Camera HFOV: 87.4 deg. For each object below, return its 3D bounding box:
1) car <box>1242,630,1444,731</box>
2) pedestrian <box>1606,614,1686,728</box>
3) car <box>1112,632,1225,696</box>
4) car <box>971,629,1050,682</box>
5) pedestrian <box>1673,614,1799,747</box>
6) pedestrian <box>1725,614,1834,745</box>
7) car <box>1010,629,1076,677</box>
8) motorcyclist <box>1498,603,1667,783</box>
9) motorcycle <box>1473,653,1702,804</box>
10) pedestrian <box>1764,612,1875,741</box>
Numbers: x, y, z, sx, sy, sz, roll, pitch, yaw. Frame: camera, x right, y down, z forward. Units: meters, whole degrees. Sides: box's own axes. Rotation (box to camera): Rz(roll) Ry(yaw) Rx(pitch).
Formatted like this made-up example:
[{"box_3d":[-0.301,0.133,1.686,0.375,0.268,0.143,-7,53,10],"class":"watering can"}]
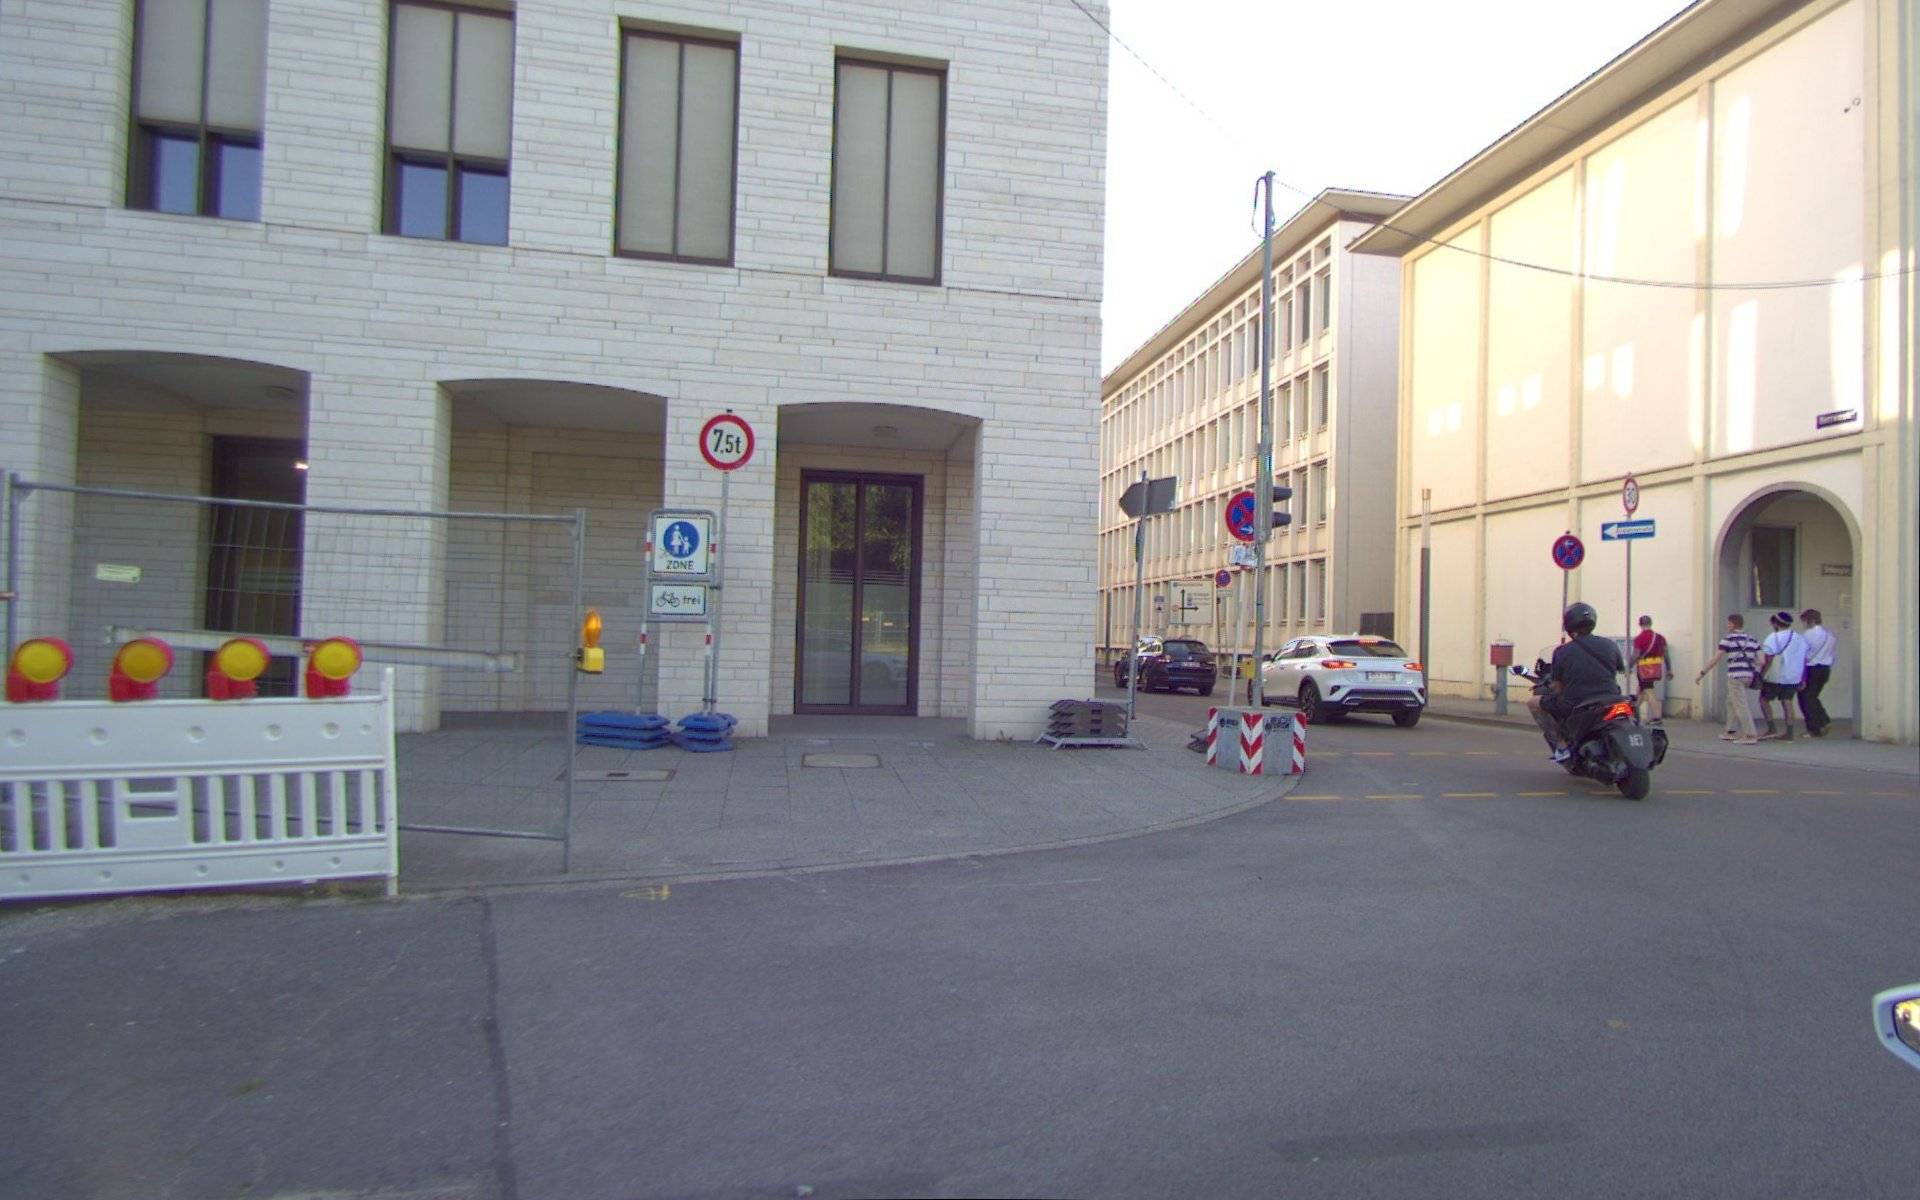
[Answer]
[{"box_3d":[6.545,1.334,17.669,1.829,1.491,3.999,3,-2,-3],"class":"car"},{"box_3d":[11.379,1.166,16.690,0.698,1.825,0.774,-1,-1,-9],"class":"pedestrian"},{"box_3d":[5.475,1.665,26.888,1.746,1.570,4.103,1,-2,-7],"class":"car"},{"box_3d":[1.605,1.803,33.385,1.783,1.627,4.262,0,-2,-9],"class":"car"},{"box_3d":[11.230,1.132,14.575,0.703,1.825,1.245,-1,-1,-9],"class":"pedestrian"},{"box_3d":[11.824,1.122,14.528,0.698,1.801,0.940,-1,-1,-9],"class":"pedestrian"},{"box_3d":[3.439,2.190,42.231,1.896,1.881,3.995,1,-2,-9],"class":"car"},{"box_3d":[5.829,0.838,9.504,0.937,1.580,1.240,0,-2,9],"class":"motorcyclist"},{"box_3d":[5.833,1.121,9.585,0.890,1.199,2.581,0,-2,9],"class":"motorcycle"},{"box_3d":[12.517,1.092,14.653,0.698,1.801,0.940,-1,-1,-9],"class":"pedestrian"}]
